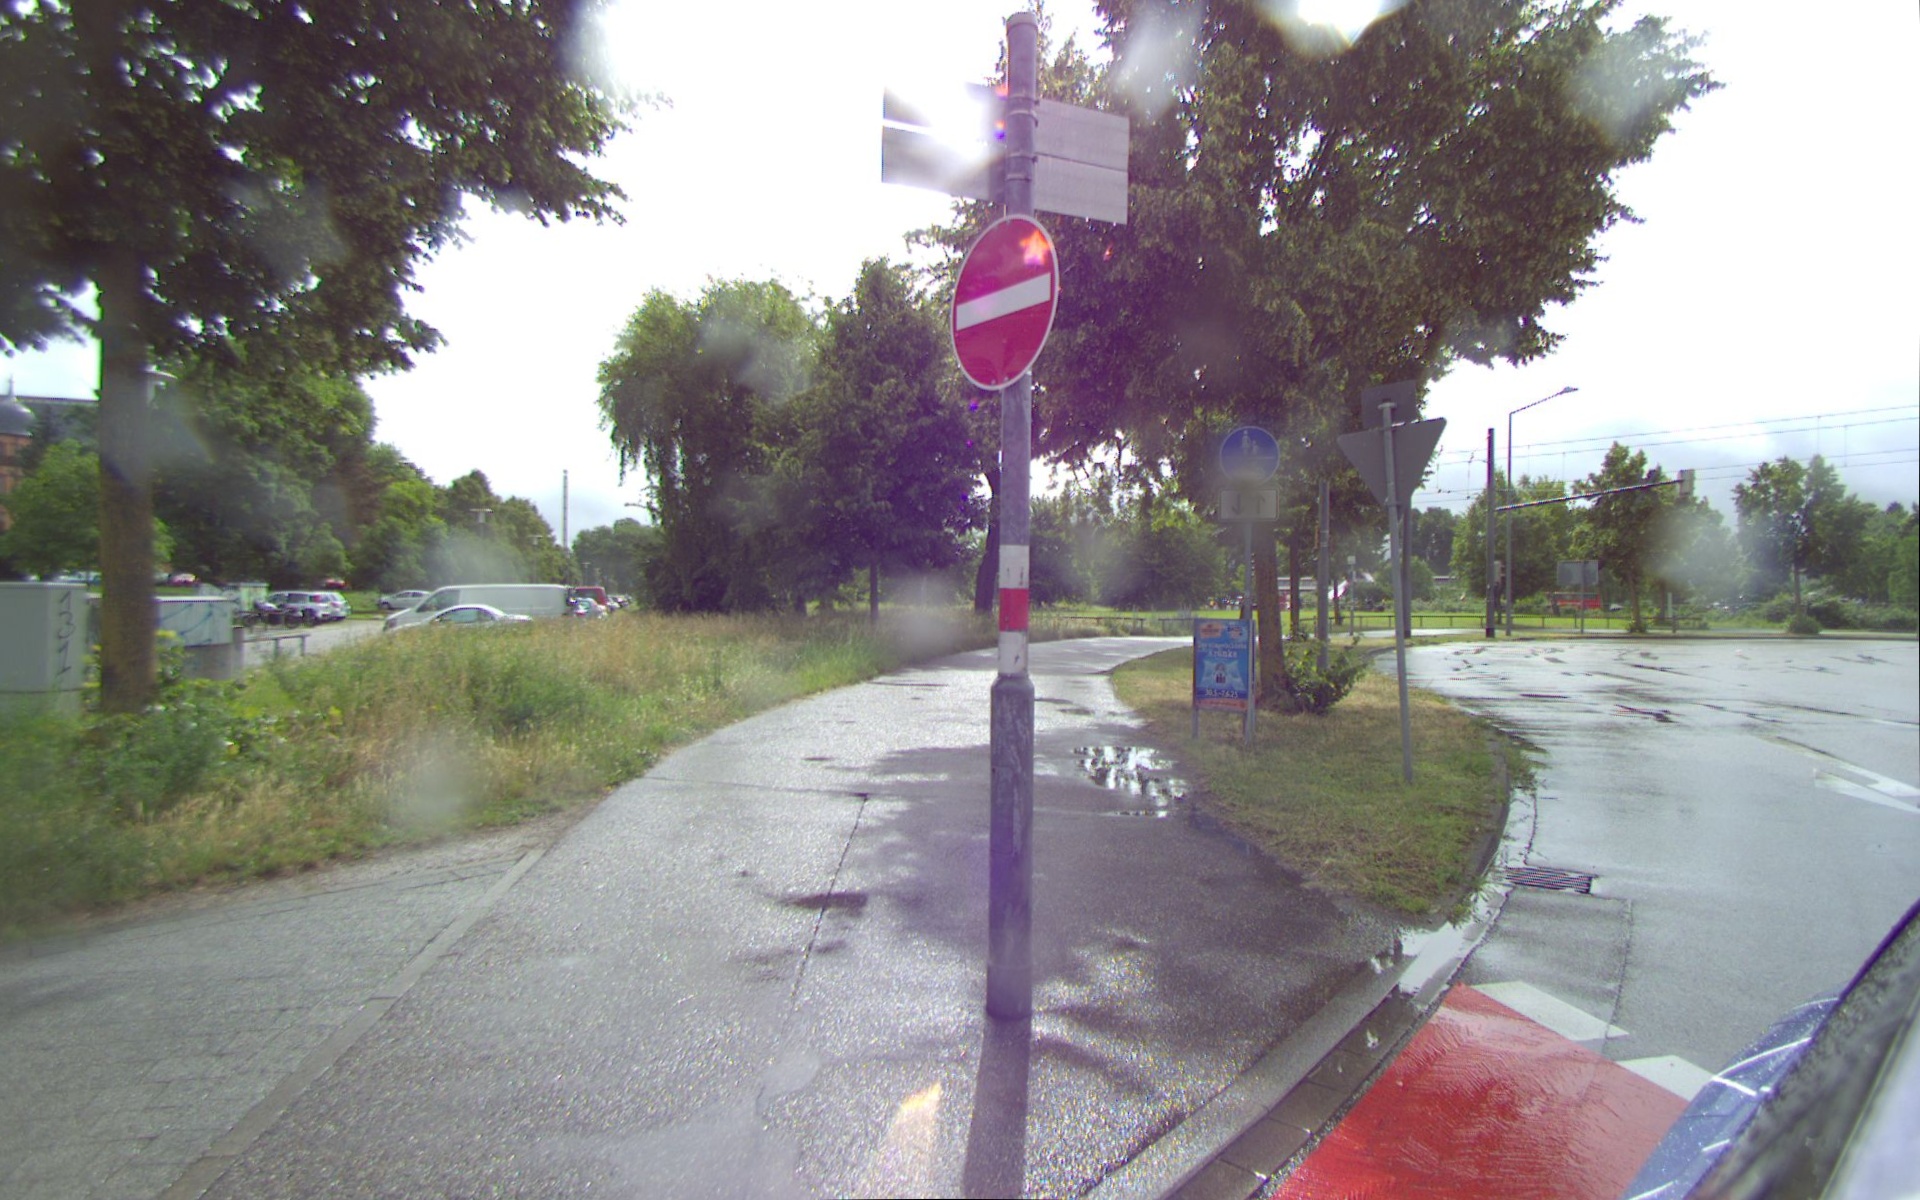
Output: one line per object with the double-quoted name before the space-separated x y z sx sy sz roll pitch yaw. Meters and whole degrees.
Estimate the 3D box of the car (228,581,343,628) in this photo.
"car" -30.464 0.233 45.823 3.916 2.040 2.003 1 -2 -21

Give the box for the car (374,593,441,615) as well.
"car" -39.466 0.251 72.400 3.916 1.547 1.803 0 0 -17

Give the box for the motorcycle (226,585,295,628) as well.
"motorcycle" -30.115 0.283 43.625 2.300 1.790 0.660 1 -3 -21

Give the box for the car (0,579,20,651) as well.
"car" -22.843 0.238 21.302 4.019 1.572 1.856 3 -1 -19

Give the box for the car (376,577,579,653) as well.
"car" -14.057 0.422 29.823 5.053 2.083 2.118 1 0 -14

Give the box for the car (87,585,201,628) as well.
"car" -40.591 0.346 50.475 3.916 2.040 2.003 1 -2 -21

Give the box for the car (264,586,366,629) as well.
"car" -32.374 0.400 50.925 3.916 2.040 2.003 1 -2 -21

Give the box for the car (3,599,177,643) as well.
"car" -25.530 0.590 29.812 3.505 1.252 1.667 0 0 -17

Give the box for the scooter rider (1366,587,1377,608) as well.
"scooter rider" 40.109 -0.244 98.577 0.691 2.040 0.771 1 -3 -11

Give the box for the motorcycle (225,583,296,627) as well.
"motorcycle" -29.189 0.240 42.254 2.300 1.790 0.660 1 -3 -21

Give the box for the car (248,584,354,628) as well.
"car" -31.704 0.331 48.828 3.916 2.040 2.003 1 -2 -21

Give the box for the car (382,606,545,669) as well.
"car" -12.794 0.947 26.285 3.544 1.529 1.612 0 0 -14

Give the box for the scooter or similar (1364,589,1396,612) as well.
"scooter or similar" 40.488 0.058 97.620 1.214 2.040 3.412 1 -2 -8

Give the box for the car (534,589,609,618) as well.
"car" -21.087 0.186 55.054 3.574 1.529 1.653 0 0 -12

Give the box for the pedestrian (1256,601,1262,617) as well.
"pedestrian" 32.514 1.018 110.009 0.593 1.754 0.600 -1 -3 27

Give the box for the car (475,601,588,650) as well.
"car" -15.321 0.899 36.345 3.525 1.684 1.532 0 0 -12

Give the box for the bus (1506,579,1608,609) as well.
"bus" 74.855 -0.695 127.114 10.917 3.505 1.973 -1 -3 36

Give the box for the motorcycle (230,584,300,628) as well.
"motorcycle" -29.599 0.269 43.138 2.300 1.790 0.660 1 -3 -21
